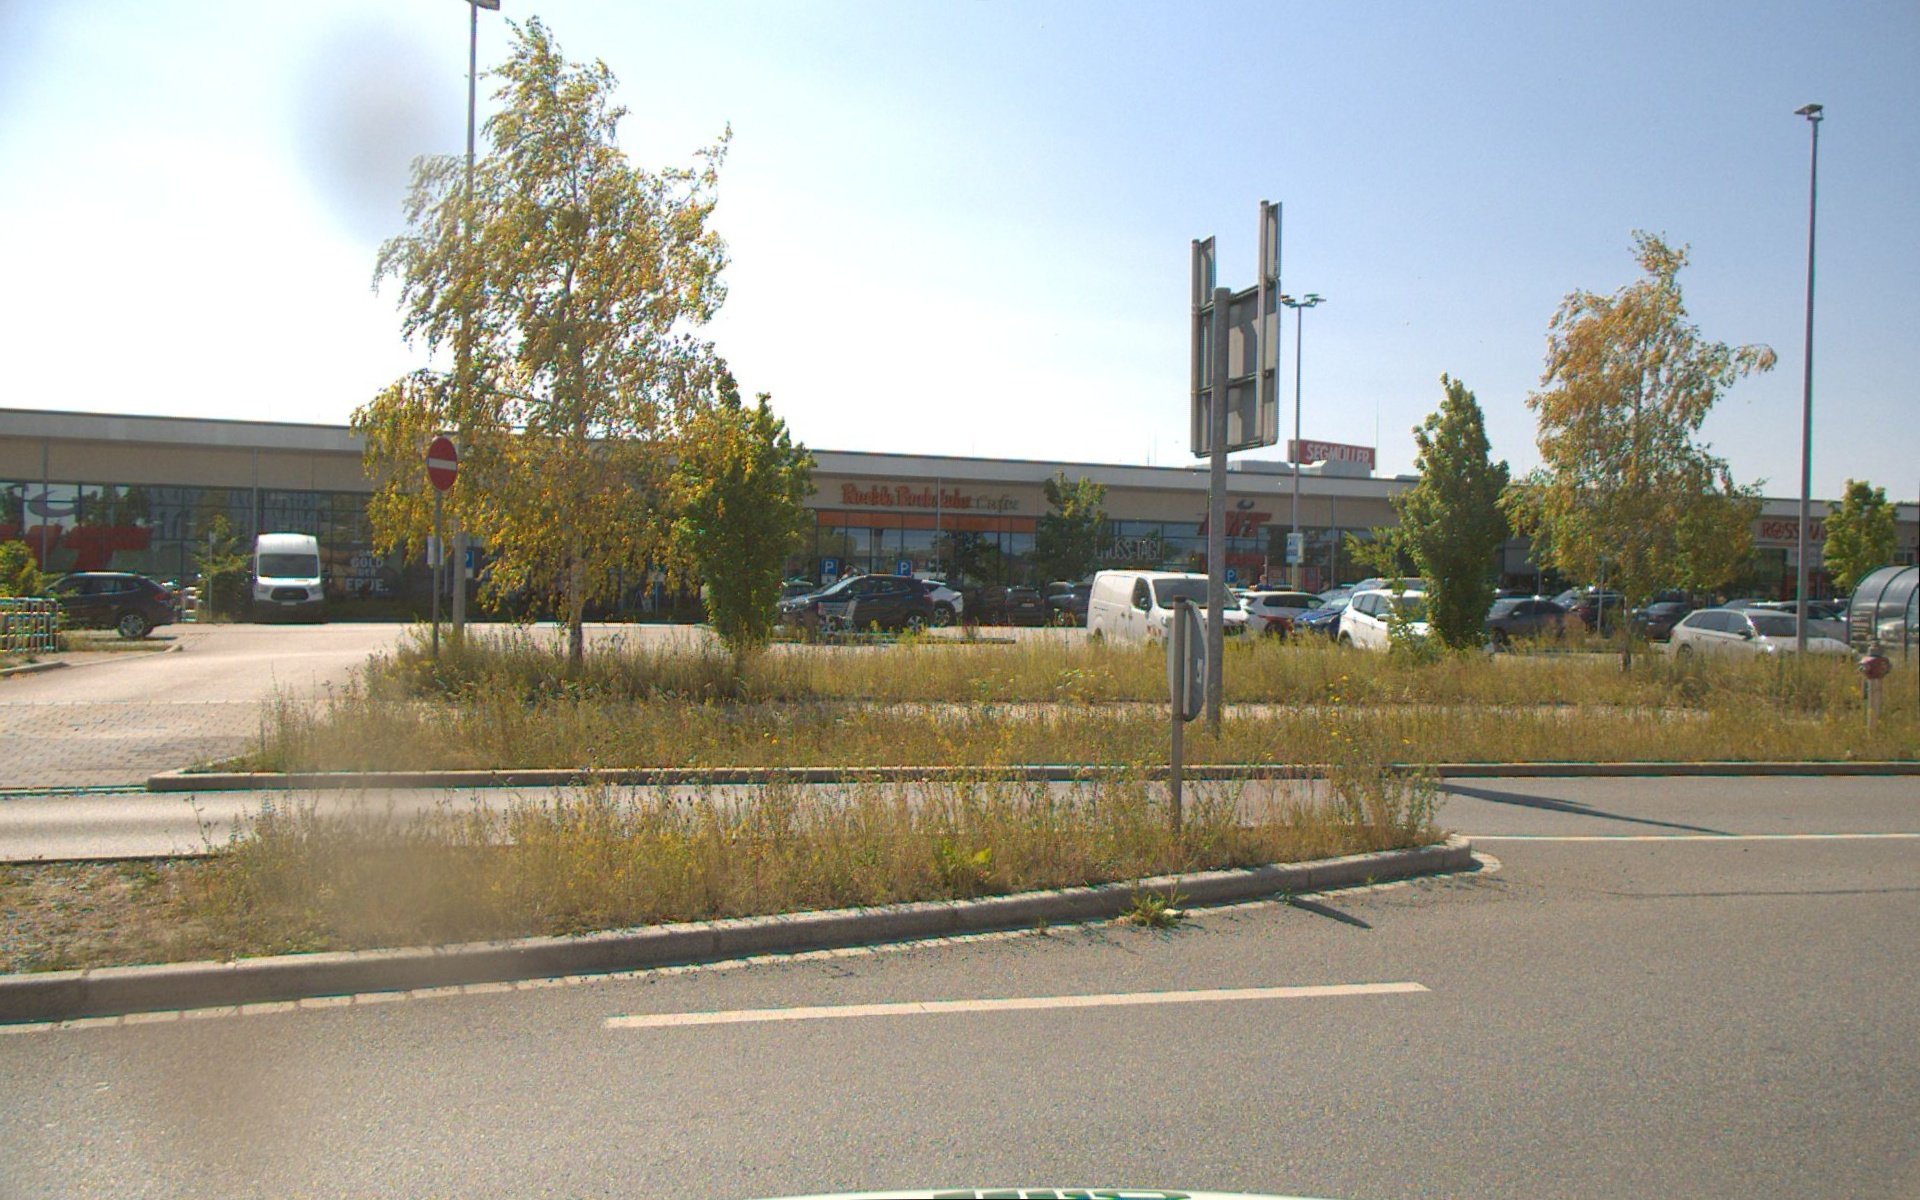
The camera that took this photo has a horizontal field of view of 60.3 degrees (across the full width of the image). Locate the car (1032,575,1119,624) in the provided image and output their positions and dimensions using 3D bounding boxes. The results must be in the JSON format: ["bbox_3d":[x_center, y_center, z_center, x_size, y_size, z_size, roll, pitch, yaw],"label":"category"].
[{"bbox_3d":[4.313,-0.051,62.243,1.962,1.737,3.981,1,1,-17],"label":"car"}]

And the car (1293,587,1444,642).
[{"bbox_3d":[10.942,0.385,44.354,3.671,1.415,1.719,1,1,-24],"label":"car"}]

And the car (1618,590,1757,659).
[{"bbox_3d":[24.717,0.830,56.151,4.416,2.230,1.983,1,0,-27],"label":"car"}]

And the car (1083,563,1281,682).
[{"bbox_3d":[4.093,0.361,31.540,2.045,2.049,5.212,1,1,-13],"label":"car"}]

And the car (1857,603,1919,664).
[{"bbox_3d":[31.660,1.100,53.772,4.405,1.896,1.988,1,0,-21],"label":"car"}]

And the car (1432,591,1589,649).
[{"bbox_3d":[15.590,0.562,46.863,3.927,1.534,1.864,1,0,-20],"label":"car"}]

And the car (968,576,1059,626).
[{"bbox_3d":[1.929,0.010,61.053,1.965,1.737,3.975,1,1,-21],"label":"car"}]

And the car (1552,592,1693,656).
[{"bbox_3d":[23.626,0.850,59.043,4.398,2.139,1.991,1,0,-17],"label":"car"}]

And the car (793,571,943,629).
[{"bbox_3d":[-2.511,-0.007,45.020,3.738,1.535,1.722,1,1,-21],"label":"car"}]

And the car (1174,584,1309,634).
[{"bbox_3d":[8.415,0.267,49.414,3.671,1.415,1.719,1,1,-24],"label":"car"}]

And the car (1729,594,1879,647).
[{"bbox_3d":[26.232,0.643,51.403,4.270,1.546,1.646,1,0,-19],"label":"car"}]

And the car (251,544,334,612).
[{"bbox_3d":[-21.236,-0.702,52.459,2.193,2.011,6.646,0,1,-24],"label":"car"}]

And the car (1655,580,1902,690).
[{"bbox_3d":[16.652,0.636,34.006,2.116,2.049,5.109,1,1,-7],"label":"car"}]

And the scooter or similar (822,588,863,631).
[{"bbox_3d":[-3.061,0.244,43.040,0.928,1.098,0.649,1,1,-17],"label":"scooter or similar"}]

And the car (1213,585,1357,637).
[{"bbox_3d":[9.117,0.304,46.460,3.671,1.415,1.719,1,1,-24],"label":"car"}]

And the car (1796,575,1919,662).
[{"bbox_3d":[30.915,0.644,56.488,4.416,2.871,1.983,1,0,-27],"label":"car"}]

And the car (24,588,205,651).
[{"bbox_3d":[-20.506,0.469,40.285,3.783,1.448,1.758,1,0,-25],"label":"car"}]

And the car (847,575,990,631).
[{"bbox_3d":[-1.393,0.092,54.809,4.401,1.736,1.865,1,0,-18],"label":"car"}]

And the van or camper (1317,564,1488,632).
[{"bbox_3d":[13.905,-0.076,51.988,4.958,2.049,1.989,1,1,-19],"label":"van or camper"}]

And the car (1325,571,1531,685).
[{"bbox_3d":[9.095,0.472,32.675,2.116,2.049,5.109,1,1,-7],"label":"car"}]
